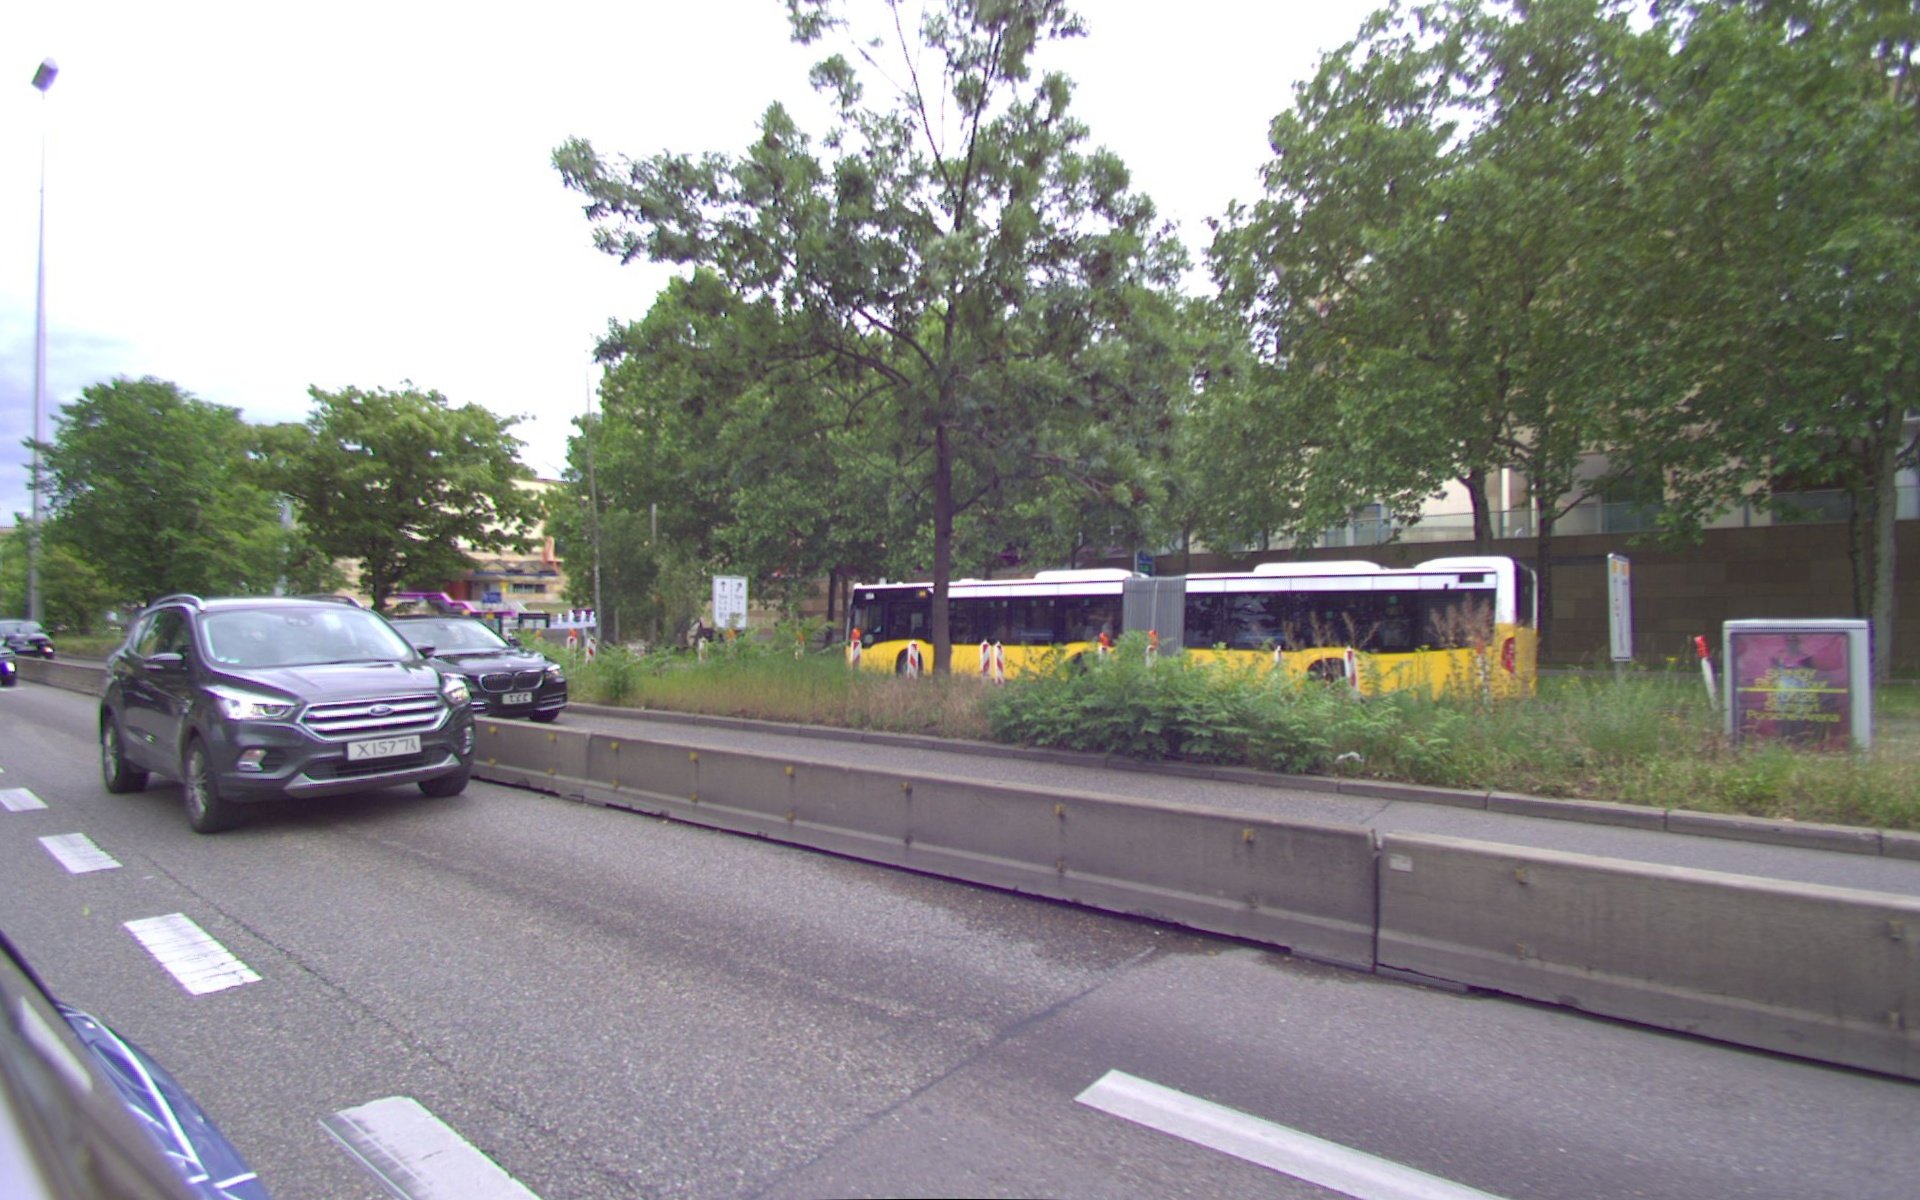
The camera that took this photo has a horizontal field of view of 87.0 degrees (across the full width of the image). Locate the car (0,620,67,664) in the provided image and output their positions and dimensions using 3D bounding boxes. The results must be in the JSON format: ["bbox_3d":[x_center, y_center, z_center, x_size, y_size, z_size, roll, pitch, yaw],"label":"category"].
[{"bbox_3d":[-34.263,1.501,36.774,4.805,1.494,1.974,-2,-2,40],"label":"car"}]

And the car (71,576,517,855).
[{"bbox_3d":[-5.768,0.768,8.497,4.654,1.728,1.874,-2,-1,40],"label":"car"}]

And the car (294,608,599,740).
[{"bbox_3d":[-7.109,0.902,13.795,4.805,1.494,1.974,-2,-2,40],"label":"car"}]

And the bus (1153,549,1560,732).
[{"bbox_3d":[8.324,0.815,21.952,7.698,3.329,2.894,-1,-2,39],"label":"bus"}]

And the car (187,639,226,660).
[{"bbox_3d":[-52.810,3.475,70.920,3.734,1.298,1.339,-1,1,40],"label":"car"}]

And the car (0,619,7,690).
[{"bbox_3d":[-22.857,1.207,22.806,4.152,1.527,1.744,-1,0,43],"label":"car"}]

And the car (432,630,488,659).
[{"bbox_3d":[-24.782,2.182,50.151,3.053,1.298,1.339,-1,1,40],"label":"car"}]

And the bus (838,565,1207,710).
[{"bbox_3d":[1.302,0.968,27.771,10.440,3.330,2.883,-1,-2,40],"label":"bus"}]

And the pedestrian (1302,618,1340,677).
[{"bbox_3d":[11.685,1.517,32.755,0.987,1.869,0.714,-1,-3,40],"label":"pedestrian"}]
